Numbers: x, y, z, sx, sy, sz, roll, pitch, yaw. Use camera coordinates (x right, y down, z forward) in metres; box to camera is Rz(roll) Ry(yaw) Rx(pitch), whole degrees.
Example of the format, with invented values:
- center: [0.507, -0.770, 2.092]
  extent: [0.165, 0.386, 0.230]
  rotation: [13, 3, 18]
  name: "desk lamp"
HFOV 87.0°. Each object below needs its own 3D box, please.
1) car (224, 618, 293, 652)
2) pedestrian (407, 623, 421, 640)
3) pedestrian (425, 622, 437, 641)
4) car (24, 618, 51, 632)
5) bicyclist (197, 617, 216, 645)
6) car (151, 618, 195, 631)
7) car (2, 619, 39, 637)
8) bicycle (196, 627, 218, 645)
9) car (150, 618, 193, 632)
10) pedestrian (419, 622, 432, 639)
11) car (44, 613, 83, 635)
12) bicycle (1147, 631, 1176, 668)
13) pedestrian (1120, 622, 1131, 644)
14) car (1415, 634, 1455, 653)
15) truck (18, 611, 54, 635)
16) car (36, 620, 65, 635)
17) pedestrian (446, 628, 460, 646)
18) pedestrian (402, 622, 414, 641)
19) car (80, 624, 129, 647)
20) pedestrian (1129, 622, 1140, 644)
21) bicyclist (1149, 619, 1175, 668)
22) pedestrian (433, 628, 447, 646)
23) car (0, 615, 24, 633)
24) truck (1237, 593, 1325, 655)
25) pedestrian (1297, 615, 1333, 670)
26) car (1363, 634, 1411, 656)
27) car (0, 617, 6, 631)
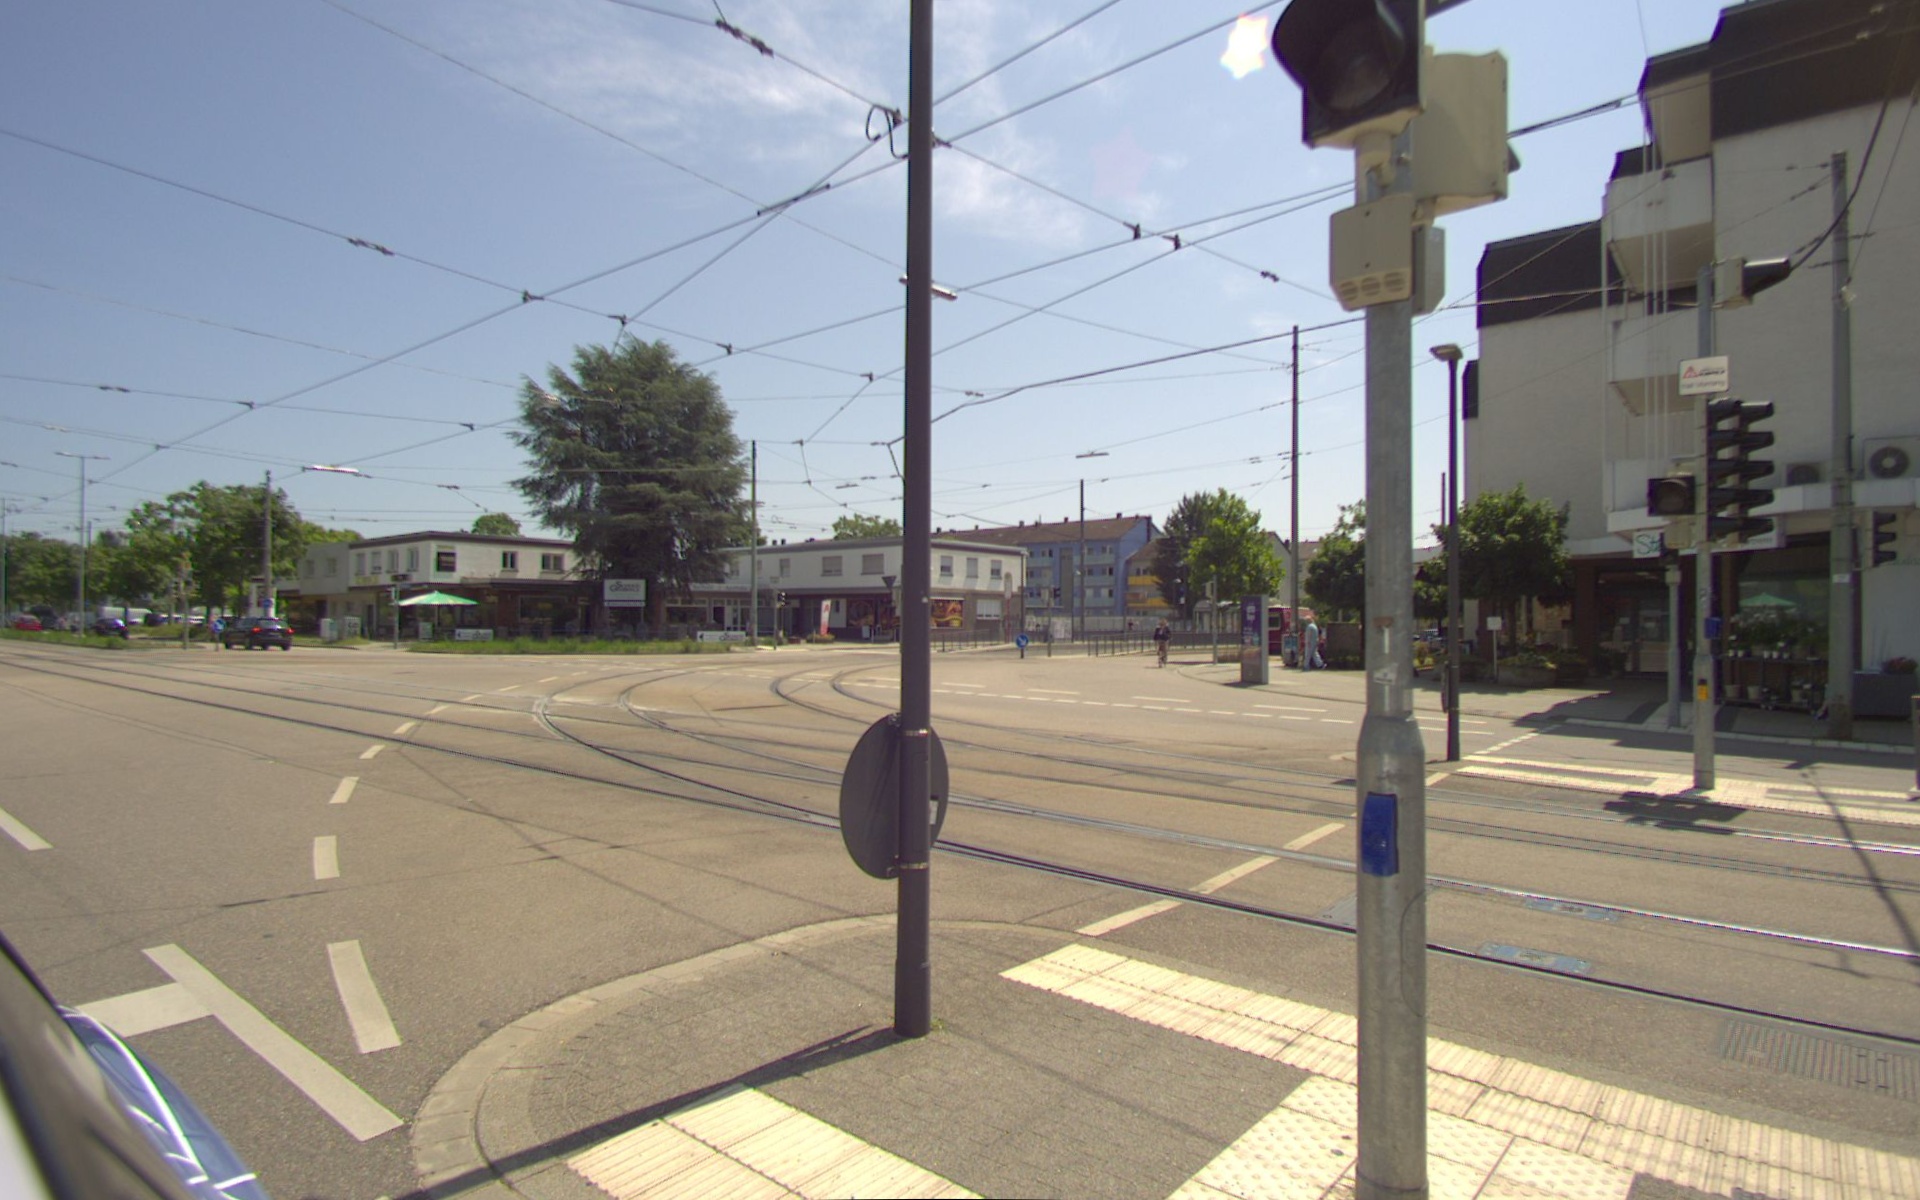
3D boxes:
- center: [-34.552, 1.714, 49.829]
  extent: [4.493, 1.591, 1.775]
  rotation: [-1, -2, 42]
  name: "car"
- center: [-36.483, 2.103, 67.652]
  extent: [0.810, 1.136, 0.558]
  rotation: [-1, -2, 40]
  name: "pedestrian"
- center: [-35.162, 2.094, 67.271]
  extent: [0.674, 1.218, 0.512]
  rotation: [-1, -2, 40]
  name: "pedestrian"
- center: [-94.065, 2.539, 103.193]
  extent: [3.668, 1.397, 1.653]
  rotation: [-1, -2, 42]
  name: "car"
- center: [-48.531, 2.011, 65.211]
  extent: [1.136, 1.779, 0.687]
  rotation: [-2, -3, 39]
  name: "bicyclist"
- center: [-84.445, 2.620, 108.613]
  extent: [1.599, 1.404, 3.376]
  rotation: [-1, -2, 34]
  name: "car"
- center: [-80.941, 2.410, 87.162]
  extent: [3.821, 1.495, 1.610]
  rotation: [-1, -2, 36]
  name: "car"
- center: [-48.545, 2.308, 65.217]
  extent: [1.929, 1.157, 0.687]
  rotation: [-2, -3, 39]
  name: "bicycle"
- center: [-88.016, 2.836, 113.000]
  extent: [1.599, 1.517, 3.376]
  rotation: [-1, -2, 34]
  name: "car"
- center: [-36.075, 2.072, 68.281]
  extent: [0.674, 1.172, 0.512]
  rotation: [-1, -2, 40]
  name: "pedestrian"
- center: [-81.710, 2.185, 92.209]
  extent: [4.658, 1.898, 1.973]
  rotation: [-1, -2, 40]
  name: "car"
- center: [7.477, 1.828, 37.597]
  extent: [0.670, 1.314, 2.104]
  rotation: [1, -2, 1]
  name: "bicycle"
- center: [14.451, 2.852, 88.381]
  extent: [0.679, 1.917, 0.640]
  rotation: [-1, -2, 39]
  name: "pedestrian"
- center: [31.779, 2.916, 67.683]
  extent: [1.589, 1.249, 3.532]
  rotation: [-1, -2, 40]
  name: "car"
- center: [-98.323, 2.433, 107.671]
  extent: [4.925, 2.561, 2.197]
  rotation: [-1, -2, 40]
  name: "truck"
- center: [-86.850, 2.618, 96.607]
  extent: [3.567, 1.397, 1.653]
  rotation: [-1, -2, 42]
  name: "car"
- center: [-31.452, 2.283, 62.779]
  extent: [0.674, 1.136, 0.512]
  rotation: [-1, -2, 40]
  name: "pedestrian"
- center: [-36.379, 2.058, 66.691]
  extent: [0.491, 1.248, 0.569]
  rotation: [-1, -2, 39]
  name: "pedestrian"
- center: [-56.614, 2.357, 66.932]
  extent: [3.859, 1.449, 1.693]
  rotation: [-1, -2, 38]
  name: "car"
- center: [15.151, 2.840, 87.861]
  extent: [0.679, 1.917, 0.640]
  rotation: [-1, -2, 39]
  name: "pedestrian"
- center: [7.462, 1.604, 37.422]
  extent: [0.724, 1.776, 1.134]
  rotation: [1, -2, 1]
  name: "bicyclist"
- center: [-32.770, 2.326, 63.792]
  extent: [0.674, 1.136, 0.512]
  rotation: [-1, -2, 40]
  name: "pedestrian"
- center: [-109.225, 2.735, 116.427]
  extent: [4.505, 1.989, 1.660]
  rotation: [-1, -2, 39]
  name: "car"
- center: [14.919, 1.131, 46.863]
  extent: [2.185, 2.719, 4.975]
  rotation: [-1, -2, 40]
  name: "truck"
- center: [11.067, 1.314, 31.564]
  extent: [0.689, 1.709, 0.810]
  rotation: [1, -2, -30]
  name: "pedestrian"
- center: [25.017, 2.622, 59.252]
  extent: [1.589, 1.249, 3.532]
  rotation: [-1, -2, 40]
  name: "car"
- center: [-121.549, 3.024, 127.381]
  extent: [3.819, 1.716, 1.660]
  rotation: [-1, -2, 39]
  name: "car"
